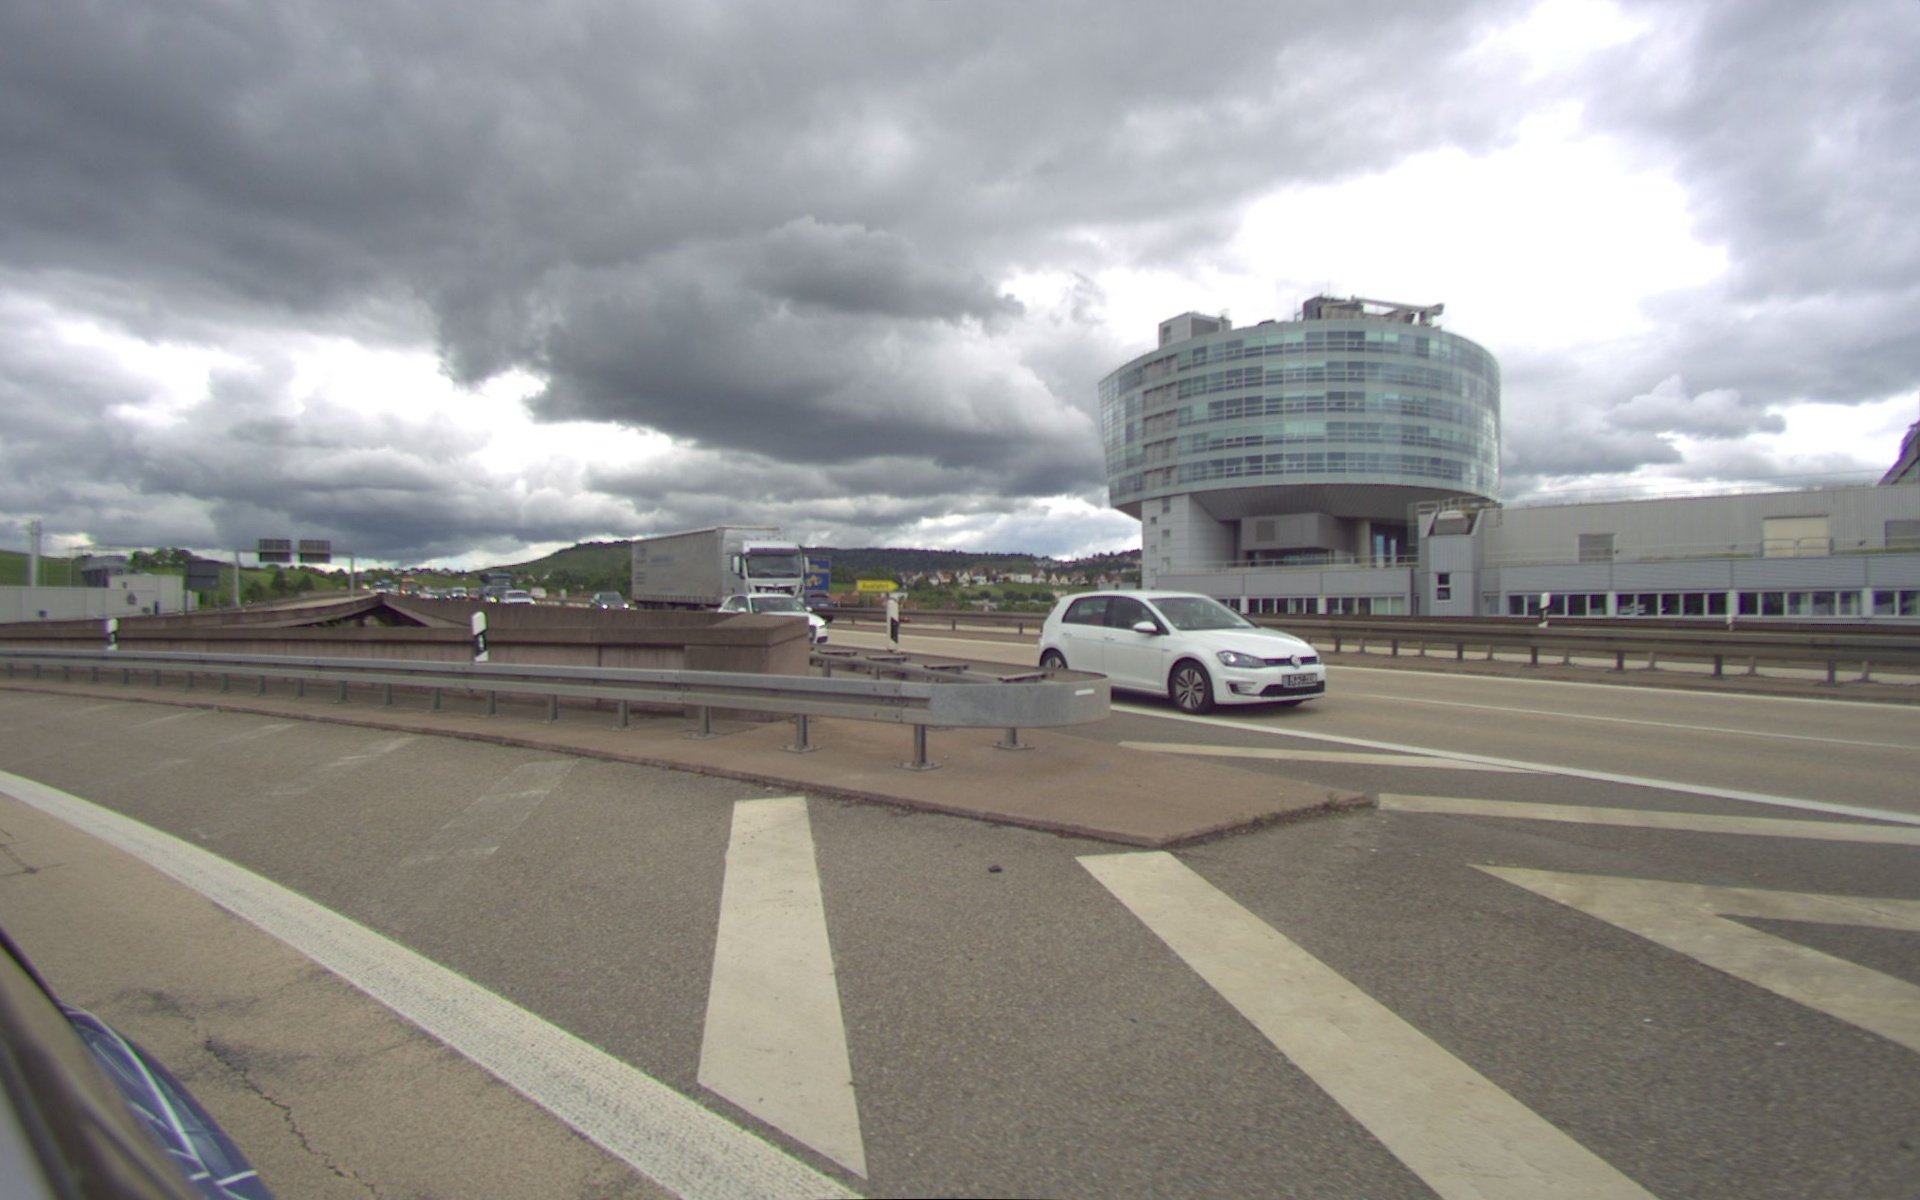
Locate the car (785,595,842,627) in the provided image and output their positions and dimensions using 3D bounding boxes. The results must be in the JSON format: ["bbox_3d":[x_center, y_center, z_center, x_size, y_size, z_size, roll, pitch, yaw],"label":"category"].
[{"bbox_3d":[-7.779,0.621,53.395,1.622,1.603,3.697,2,-2,-31],"label":"car"}]

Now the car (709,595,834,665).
[{"bbox_3d":[-4.760,0.706,25.146,1.758,1.530,4.012,-2,0,-30],"label":"car"}]

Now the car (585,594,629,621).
[{"bbox_3d":[-22.075,0.474,63.207,1.758,1.529,4.012,-3,1,-30],"label":"car"}]

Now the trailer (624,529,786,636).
[{"bbox_3d":[-11.777,-0.679,45.104,2.817,4.041,14.014,-1,1,-32],"label":"trailer"}]

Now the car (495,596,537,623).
[{"bbox_3d":[-29.785,0.647,67.868,1.966,1.695,4.011,-1,0,-32],"label":"car"}]

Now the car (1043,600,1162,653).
[{"bbox_3d":[4.395,0.832,31.704,1.622,1.530,3.850,2,-2,-31],"label":"car"}]

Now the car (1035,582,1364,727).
[{"bbox_3d":[2.809,0.591,12.758,1.685,1.508,4.012,-1,0,-32],"label":"car"}]

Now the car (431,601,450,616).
[{"bbox_3d":[-63.911,1.049,124.501,1.965,1.695,4.013,-1,0,-26],"label":"car"}]

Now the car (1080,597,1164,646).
[{"bbox_3d":[7.730,0.985,48.685,1.966,2.028,4.013,-6,3,-24],"label":"car"}]

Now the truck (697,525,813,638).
[{"bbox_3d":[-7.959,-0.683,38.895,2.817,4.041,4.805,-1,0,-32],"label":"truck"}]

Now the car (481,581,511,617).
[{"bbox_3d":[-49.672,-0.125,108.246,2.325,3.688,4.813,-3,1,-30],"label":"car"}]

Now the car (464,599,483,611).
[{"bbox_3d":[-62.821,0.656,130.647,1.758,1.529,4.012,-3,1,-30],"label":"car"}]

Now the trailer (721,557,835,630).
[{"bbox_3d":[-12.462,-0.254,67.757,3.117,4.380,12.554,2,-2,-31],"label":"trailer"}]

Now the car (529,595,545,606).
[{"bbox_3d":[-61.683,0.127,147.497,1.660,1.529,3.661,-3,1,-30],"label":"car"}]
